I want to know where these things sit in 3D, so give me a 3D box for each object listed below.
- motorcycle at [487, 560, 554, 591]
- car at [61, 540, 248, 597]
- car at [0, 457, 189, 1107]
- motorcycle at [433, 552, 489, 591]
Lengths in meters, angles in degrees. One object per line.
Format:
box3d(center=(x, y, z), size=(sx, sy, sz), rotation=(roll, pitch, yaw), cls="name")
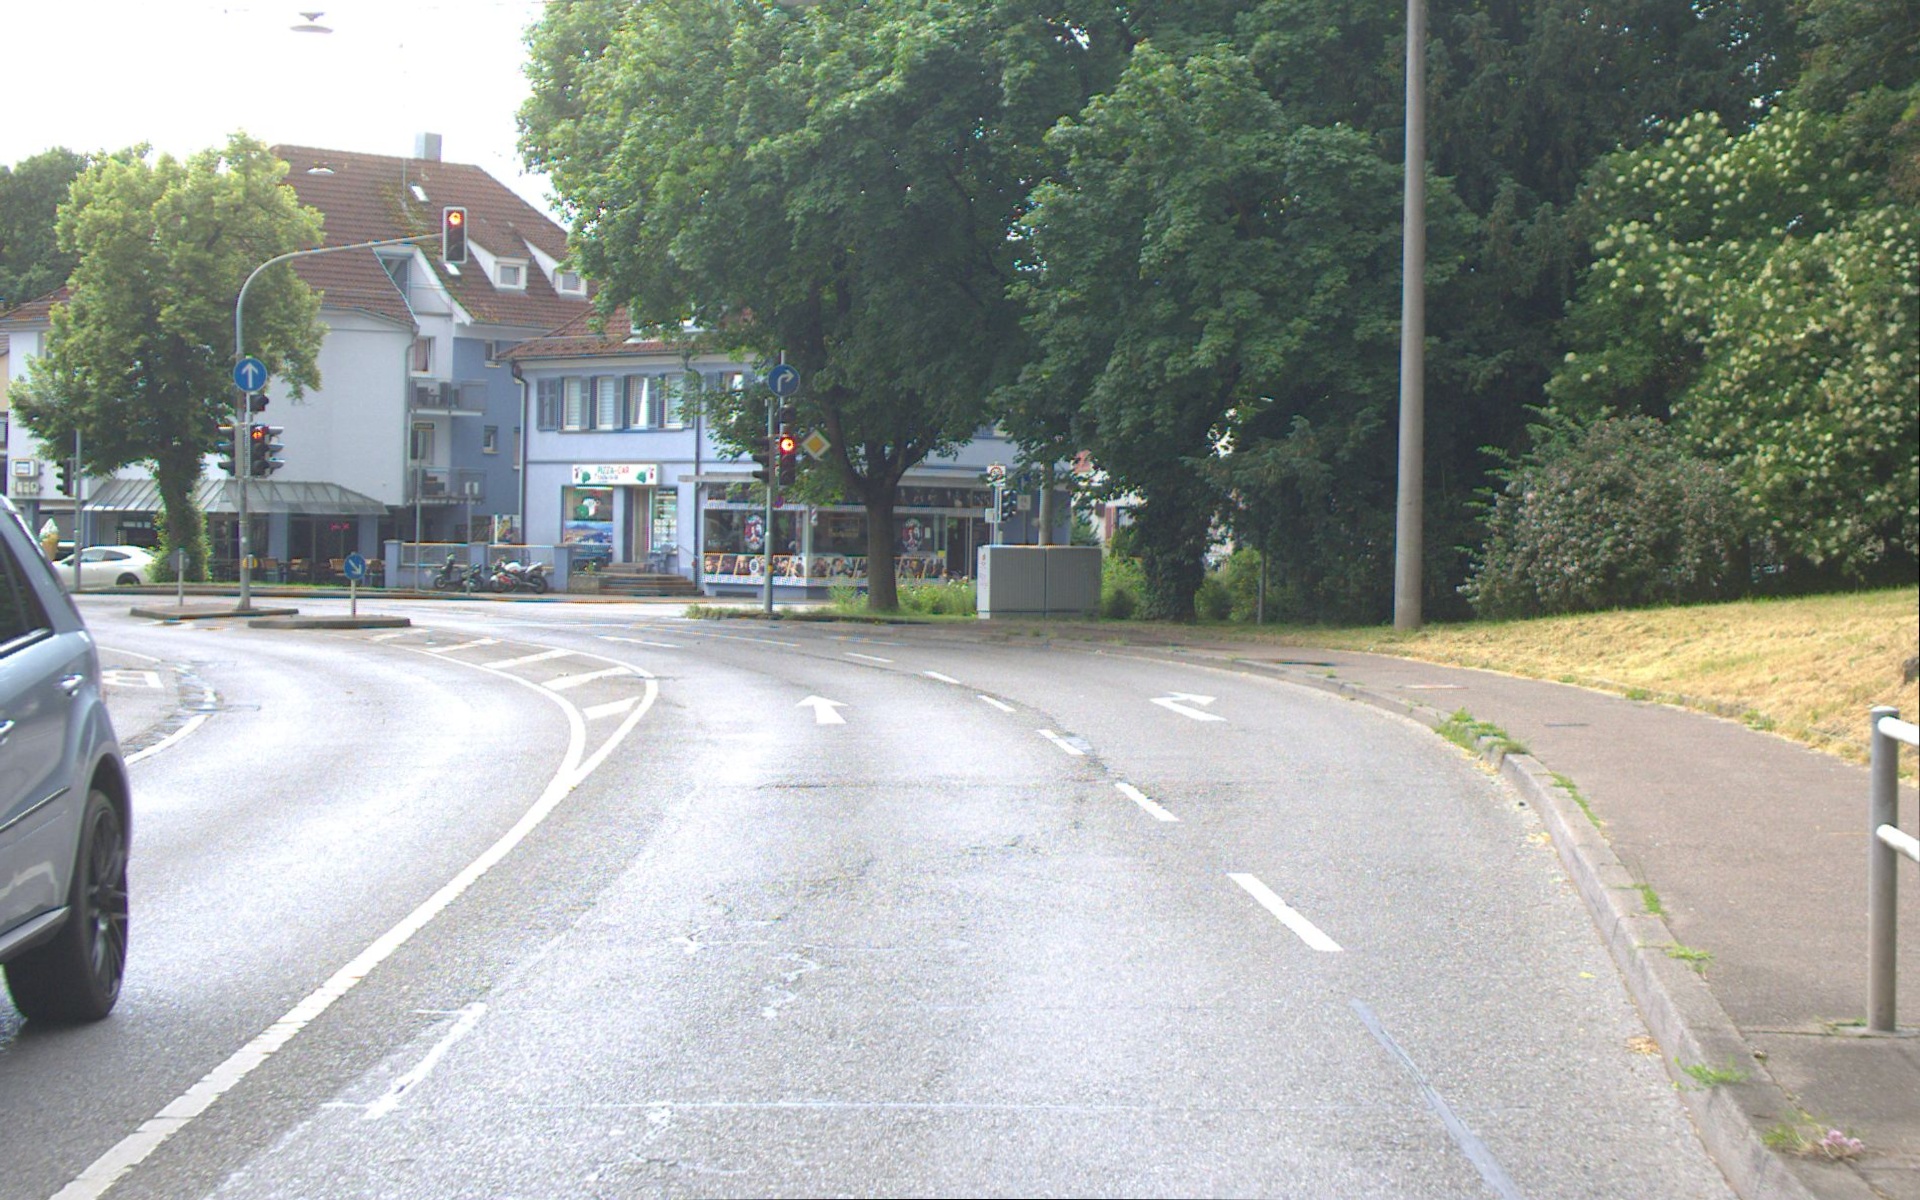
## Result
box3d(center=(-12.862, -0.716, 100.678), size=(1.837, 0.845, 0.560), rotation=(0, 6, 16), cls="motorcycle")
box3d(center=(-22.052, -0.867, 94.134), size=(4.580, 1.512, 1.999), rotation=(0, 1, 14), cls="car")
box3d(center=(-3.521, 0.478, 9.400), size=(1.935, 1.718, 4.693), rotation=(0, 1, -2), cls="car")
box3d(center=(-14.780, -0.852, 101.887), size=(1.496, 1.103, 0.560), rotation=(0, 6, 12), cls="motorcycle")
